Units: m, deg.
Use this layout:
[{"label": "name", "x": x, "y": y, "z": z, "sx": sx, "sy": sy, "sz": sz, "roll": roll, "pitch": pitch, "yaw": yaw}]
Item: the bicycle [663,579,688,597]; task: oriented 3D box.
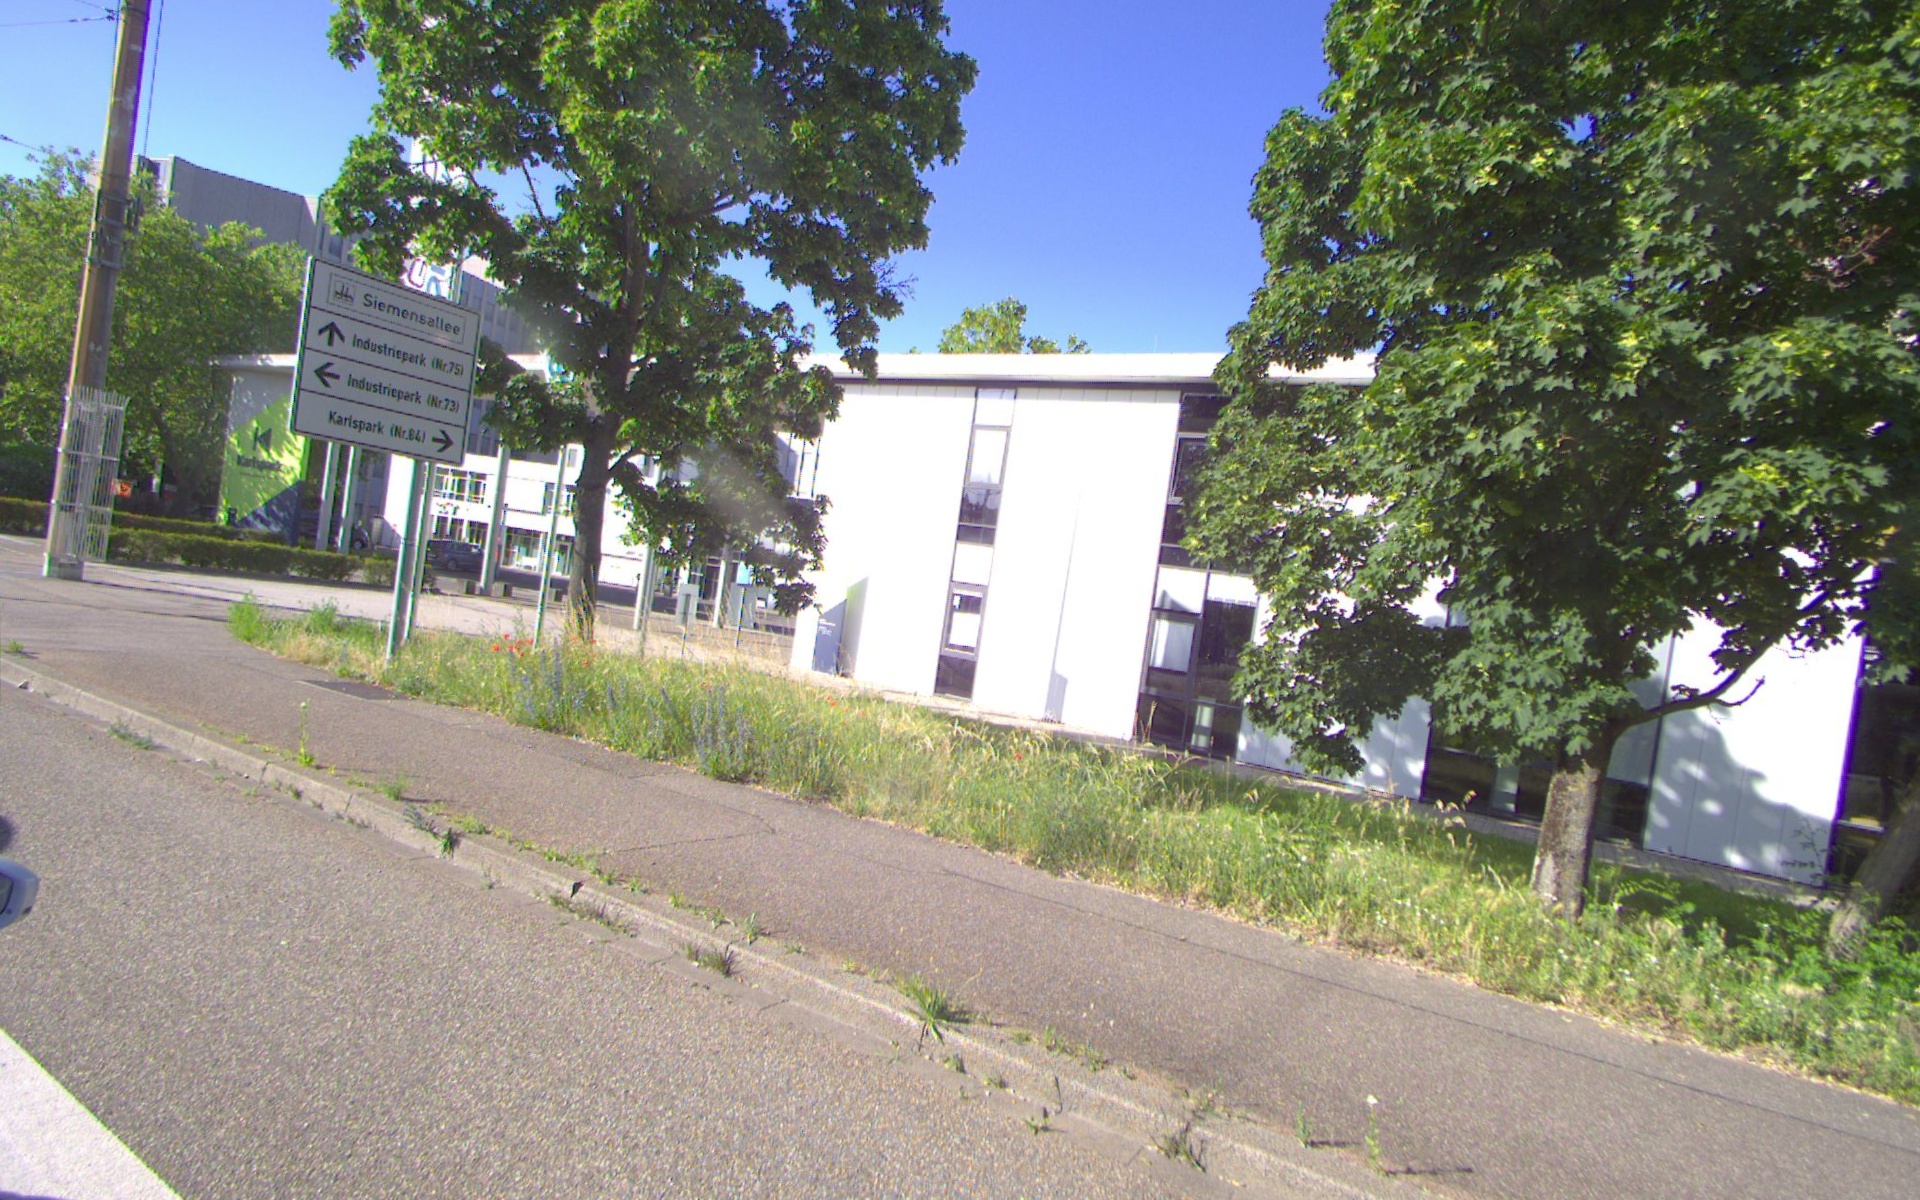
[{"label": "bicycle", "x": -20.264, "y": -0.864, "z": 71.671, "sx": 1.591, "sy": 1.016, "sz": 0.566, "roll": 8, "pitch": 0, "yaw": 17}]

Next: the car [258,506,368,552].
[{"label": "car", "x": -36.201, "y": -3.943, "z": 56.483, "sx": 2.052, "sy": 1.778, "sz": 4.900, "roll": 8, "pitch": -1, "yaw": 17}]

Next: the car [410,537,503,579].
[{"label": "car", "x": -26.681, "y": -2.210, "z": 53.452, "sx": 1.918, "sy": 1.597, "sz": 4.000, "roll": 8, "pitch": -1, "yaw": 23}]

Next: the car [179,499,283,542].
[{"label": "car", "x": -42.658, "y": -4.640, "z": 58.967, "sx": 1.861, "sy": 1.706, "sz": 4.468, "roll": 8, "pitch": -1, "yaw": 26}]
